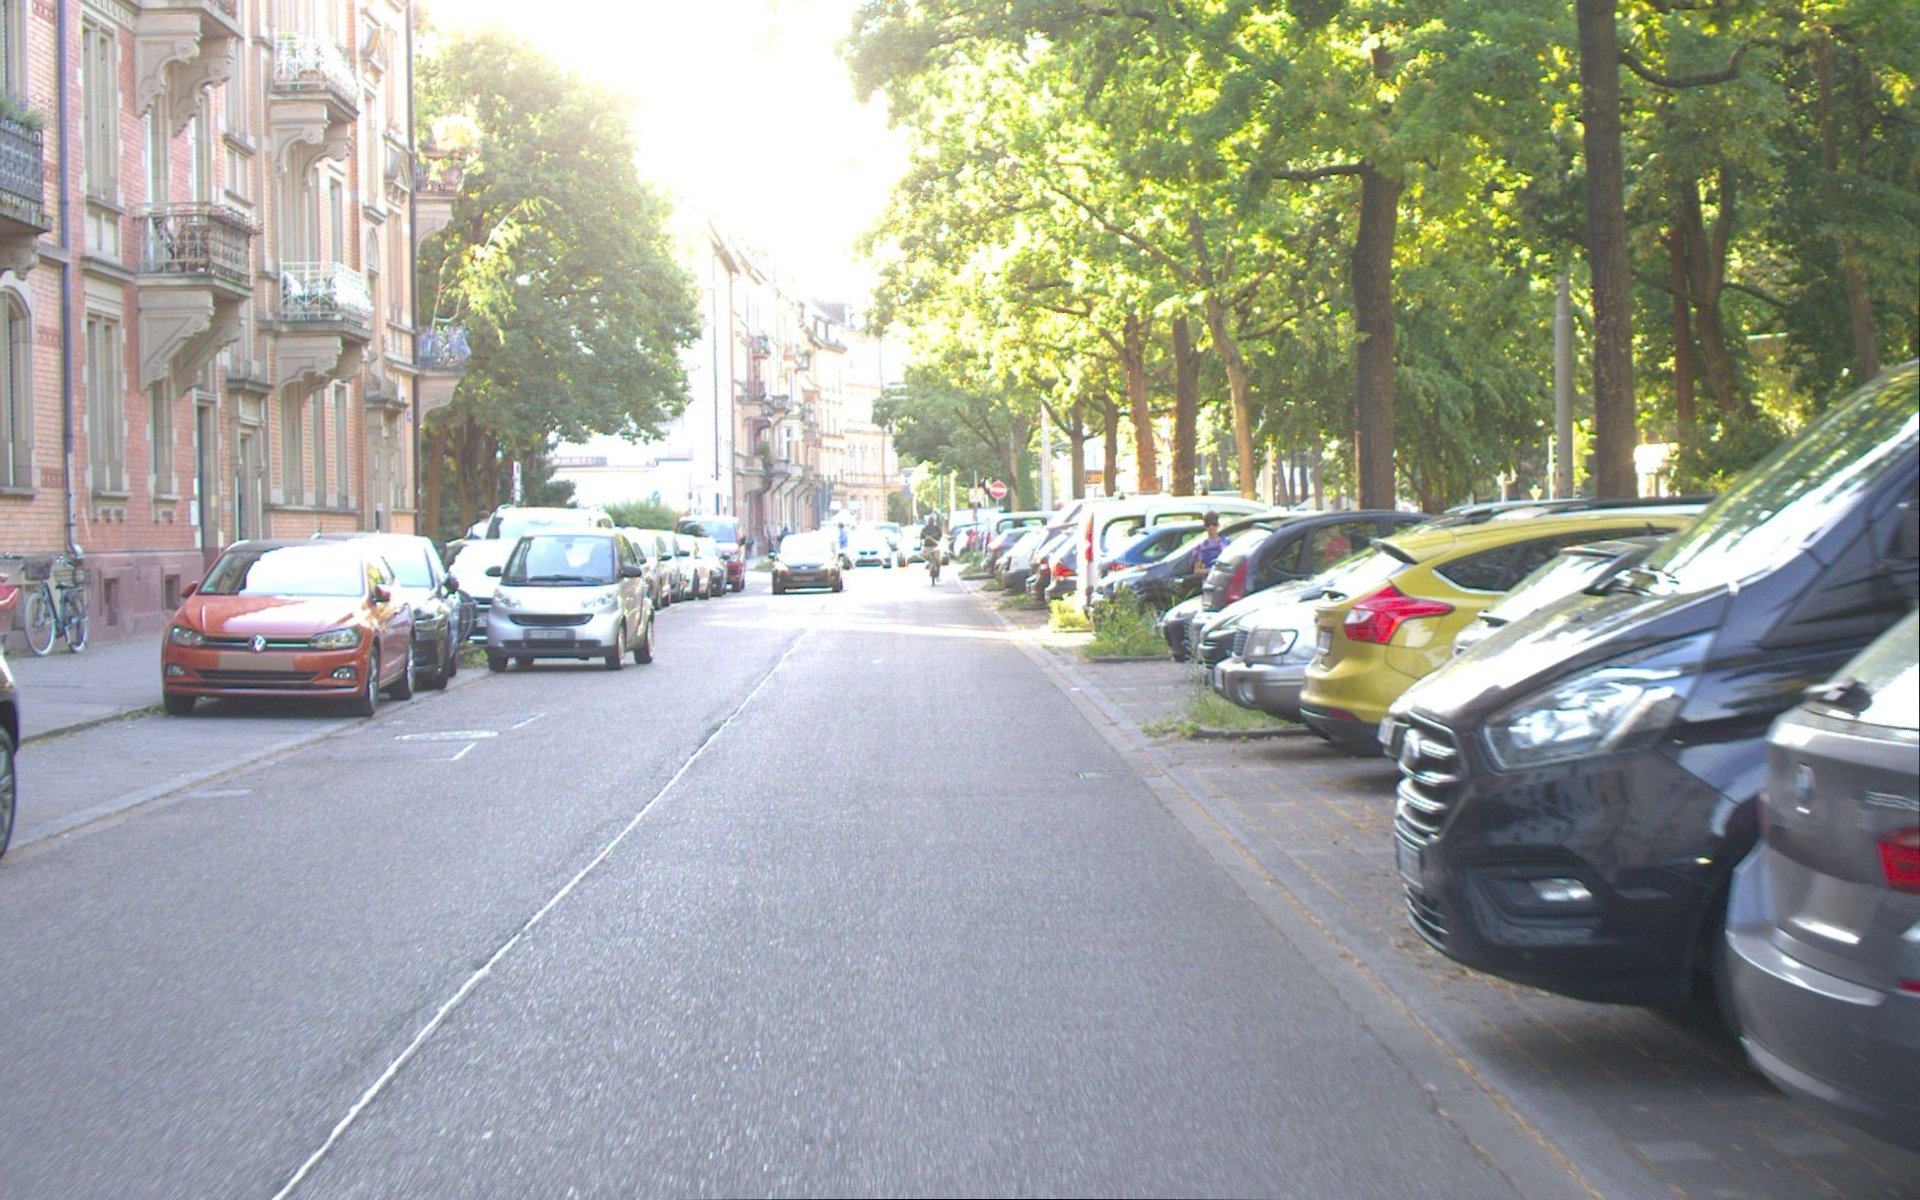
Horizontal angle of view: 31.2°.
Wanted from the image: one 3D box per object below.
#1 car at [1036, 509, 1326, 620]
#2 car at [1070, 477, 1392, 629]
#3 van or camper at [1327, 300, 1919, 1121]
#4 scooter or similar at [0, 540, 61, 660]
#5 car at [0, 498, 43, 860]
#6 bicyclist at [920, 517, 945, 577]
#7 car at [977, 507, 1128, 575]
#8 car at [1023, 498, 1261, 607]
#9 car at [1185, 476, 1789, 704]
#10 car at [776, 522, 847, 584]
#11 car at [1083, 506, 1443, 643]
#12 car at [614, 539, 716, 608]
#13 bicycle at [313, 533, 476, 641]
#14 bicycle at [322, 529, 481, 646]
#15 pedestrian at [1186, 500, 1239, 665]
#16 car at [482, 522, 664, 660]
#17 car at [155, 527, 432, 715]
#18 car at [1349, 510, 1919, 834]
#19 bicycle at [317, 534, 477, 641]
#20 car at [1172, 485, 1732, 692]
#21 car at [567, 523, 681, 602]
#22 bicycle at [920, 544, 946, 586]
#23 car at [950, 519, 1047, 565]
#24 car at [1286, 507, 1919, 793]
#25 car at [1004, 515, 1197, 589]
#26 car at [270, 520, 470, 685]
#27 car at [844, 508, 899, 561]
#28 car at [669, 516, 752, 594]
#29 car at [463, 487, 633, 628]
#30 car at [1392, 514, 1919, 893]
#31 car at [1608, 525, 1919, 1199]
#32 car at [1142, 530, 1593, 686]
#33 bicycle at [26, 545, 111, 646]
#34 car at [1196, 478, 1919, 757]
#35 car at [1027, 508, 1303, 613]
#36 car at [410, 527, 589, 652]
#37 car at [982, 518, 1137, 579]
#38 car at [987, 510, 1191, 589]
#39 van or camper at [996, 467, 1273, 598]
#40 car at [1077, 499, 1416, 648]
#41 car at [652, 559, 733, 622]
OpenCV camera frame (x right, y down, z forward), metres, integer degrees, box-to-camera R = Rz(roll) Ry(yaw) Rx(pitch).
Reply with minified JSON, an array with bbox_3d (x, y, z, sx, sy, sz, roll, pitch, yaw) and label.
[{"bbox_3d":[3.308,-0.541,51.655,4.220,1.448,1.649,-2,1,4],"label":"car"},{"bbox_3d":[3.670,-0.649,47.114,4.220,1.857,1.762,-3,1,1],"label":"car"},{"bbox_3d":[3.837,0.189,9.548,5.414,2.020,2.029,-2,2,2],"label":"van or camper"},{"bbox_3d":[-10.144,0.003,36.011,0.783,1.218,2.704,0,0,-1],"label":"scooter or similar"},{"bbox_3d":[-5.360,0.398,14.847,1.751,1.700,4.201,0,1,-1],"label":"car"},{"bbox_3d":[-0.735,-1.405,91.631,0.627,1.568,0.802,0,-1,-2],"label":"bicyclist"},{"bbox_3d":[2.519,-1.607,94.458,3.986,1.788,1.859,0,0,-3],"label":"car"},{"bbox_3d":[3.125,-0.835,59.622,3.987,1.685,1.859,-3,1,1],"label":"car"},{"bbox_3d":[4.028,-0.085,26.819,4.399,1.585,1.838,-2,1,1],"label":"car"},{"bbox_3d":[-3.699,-1.208,86.224,1.668,1.459,4.001,-2,1,-2],"label":"car"},{"bbox_3d":[3.626,-0.325,41.620,4.081,1.437,1.762,-3,1,-3],"label":"car"},{"bbox_3d":[-6.515,-0.605,76.260,1.756,1.461,4.268,0,1,2],"label":"car"},{"bbox_3d":[-6.393,-0.147,38.906,1.763,1.211,0.464,0,-1,-1],"label":"bicycle"},{"bbox_3d":[-6.479,-0.141,39.941,1.763,1.343,0.496,0,-1,-1],"label":"bicycle"},{"bbox_3d":[2.473,-0.175,33.670,0.380,1.579,0.518,0,3,19],"label":"pedestrian"},{"bbox_3d":[-4.291,-0.124,38.430,1.504,1.430,2.753,-2,1,4],"label":"car"},{"bbox_3d":[-5.678,0.129,29.697,1.753,1.459,4.001,2,1,-3],"label":"car"},{"bbox_3d":[4.210,0.298,16.852,4.399,1.435,1.838,-2,1,2],"label":"car"},{"bbox_3d":[-6.451,-0.144,39.416,1.763,1.211,0.428,0,-1,-1],"label":"bicycle"},{"bbox_3d":[4.153,-0.111,29.421,4.398,1.585,1.838,-2,1,-5],"label":"car"},{"bbox_3d":[-6.390,-0.736,65.722,1.704,1.424,3.877,1,1,1],"label":"car"},{"bbox_3d":[-0.725,-0.920,91.662,0.641,1.096,1.944,0,0,-2],"label":"bicycle"},{"bbox_3d":[1.719,-2.546,151.942,3.989,2.007,1.999,0,0,11],"label":"car"},{"bbox_3d":[4.113,0.243,19.290,4.399,1.435,1.838,-2,1,2],"label":"car"},{"bbox_3d":[3.009,-1.023,74.178,3.986,1.543,1.859,0,0,-3],"label":"car"},{"bbox_3d":[-5.843,-0.011,34.405,1.746,1.541,4.153,1,1,-7],"label":"car"},{"bbox_3d":[-3.261,-2.400,126.049,1.993,1.831,4.000,0,0,-2],"label":"car"},{"bbox_3d":[-6.542,-1.198,90.445,1.957,2.011,4.268,0,1,-1],"label":"car"},{"bbox_3d":[-5.868,-0.562,49.531,1.993,1.914,5.040,0,0,-2],"label":"car"},{"bbox_3d":[4.168,0.357,14.453,4.399,1.435,1.838,-2,1,-1],"label":"car"},{"bbox_3d":[3.727,0.561,6.941,4.399,1.496,1.838,-2,0,-3],"label":"car"},{"bbox_3d":[3.660,0.054,31.310,3.842,1.274,1.691,-2,1,-1],"label":"car"},{"bbox_3d":[-10.126,-0.041,39.093,0.427,1.126,1.769,0,0,2],"label":"bicycle"},{"bbox_3d":[3.811,0.095,22.044,4.399,1.585,1.838,-2,1,-1],"label":"car"},{"bbox_3d":[3.213,-0.639,54.549,4.220,1.448,1.865,-3,1,1],"label":"car"},{"bbox_3d":[-5.839,-0.174,44.009,1.674,1.449,4.210,-2,1,0],"label":"car"},{"bbox_3d":[2.645,-1.363,91.789,3.986,1.558,1.859,0,0,-3],"label":"car"},{"bbox_3d":[2.862,-1.120,76.793,4.389,1.694,1.859,0,0,-3],"label":"car"},{"bbox_3d":[3.209,-1.233,64.178,4.981,2.369,2.185,0,0,-2],"label":"van or camper"},{"bbox_3d":[3.219,-0.317,39.182,3.674,1.496,1.762,-3,1,1],"label":"car"},{"bbox_3d":[-6.582,-0.249,84.926,1.756,1.461,4.268,0,1,-1],"label":"car"}]
